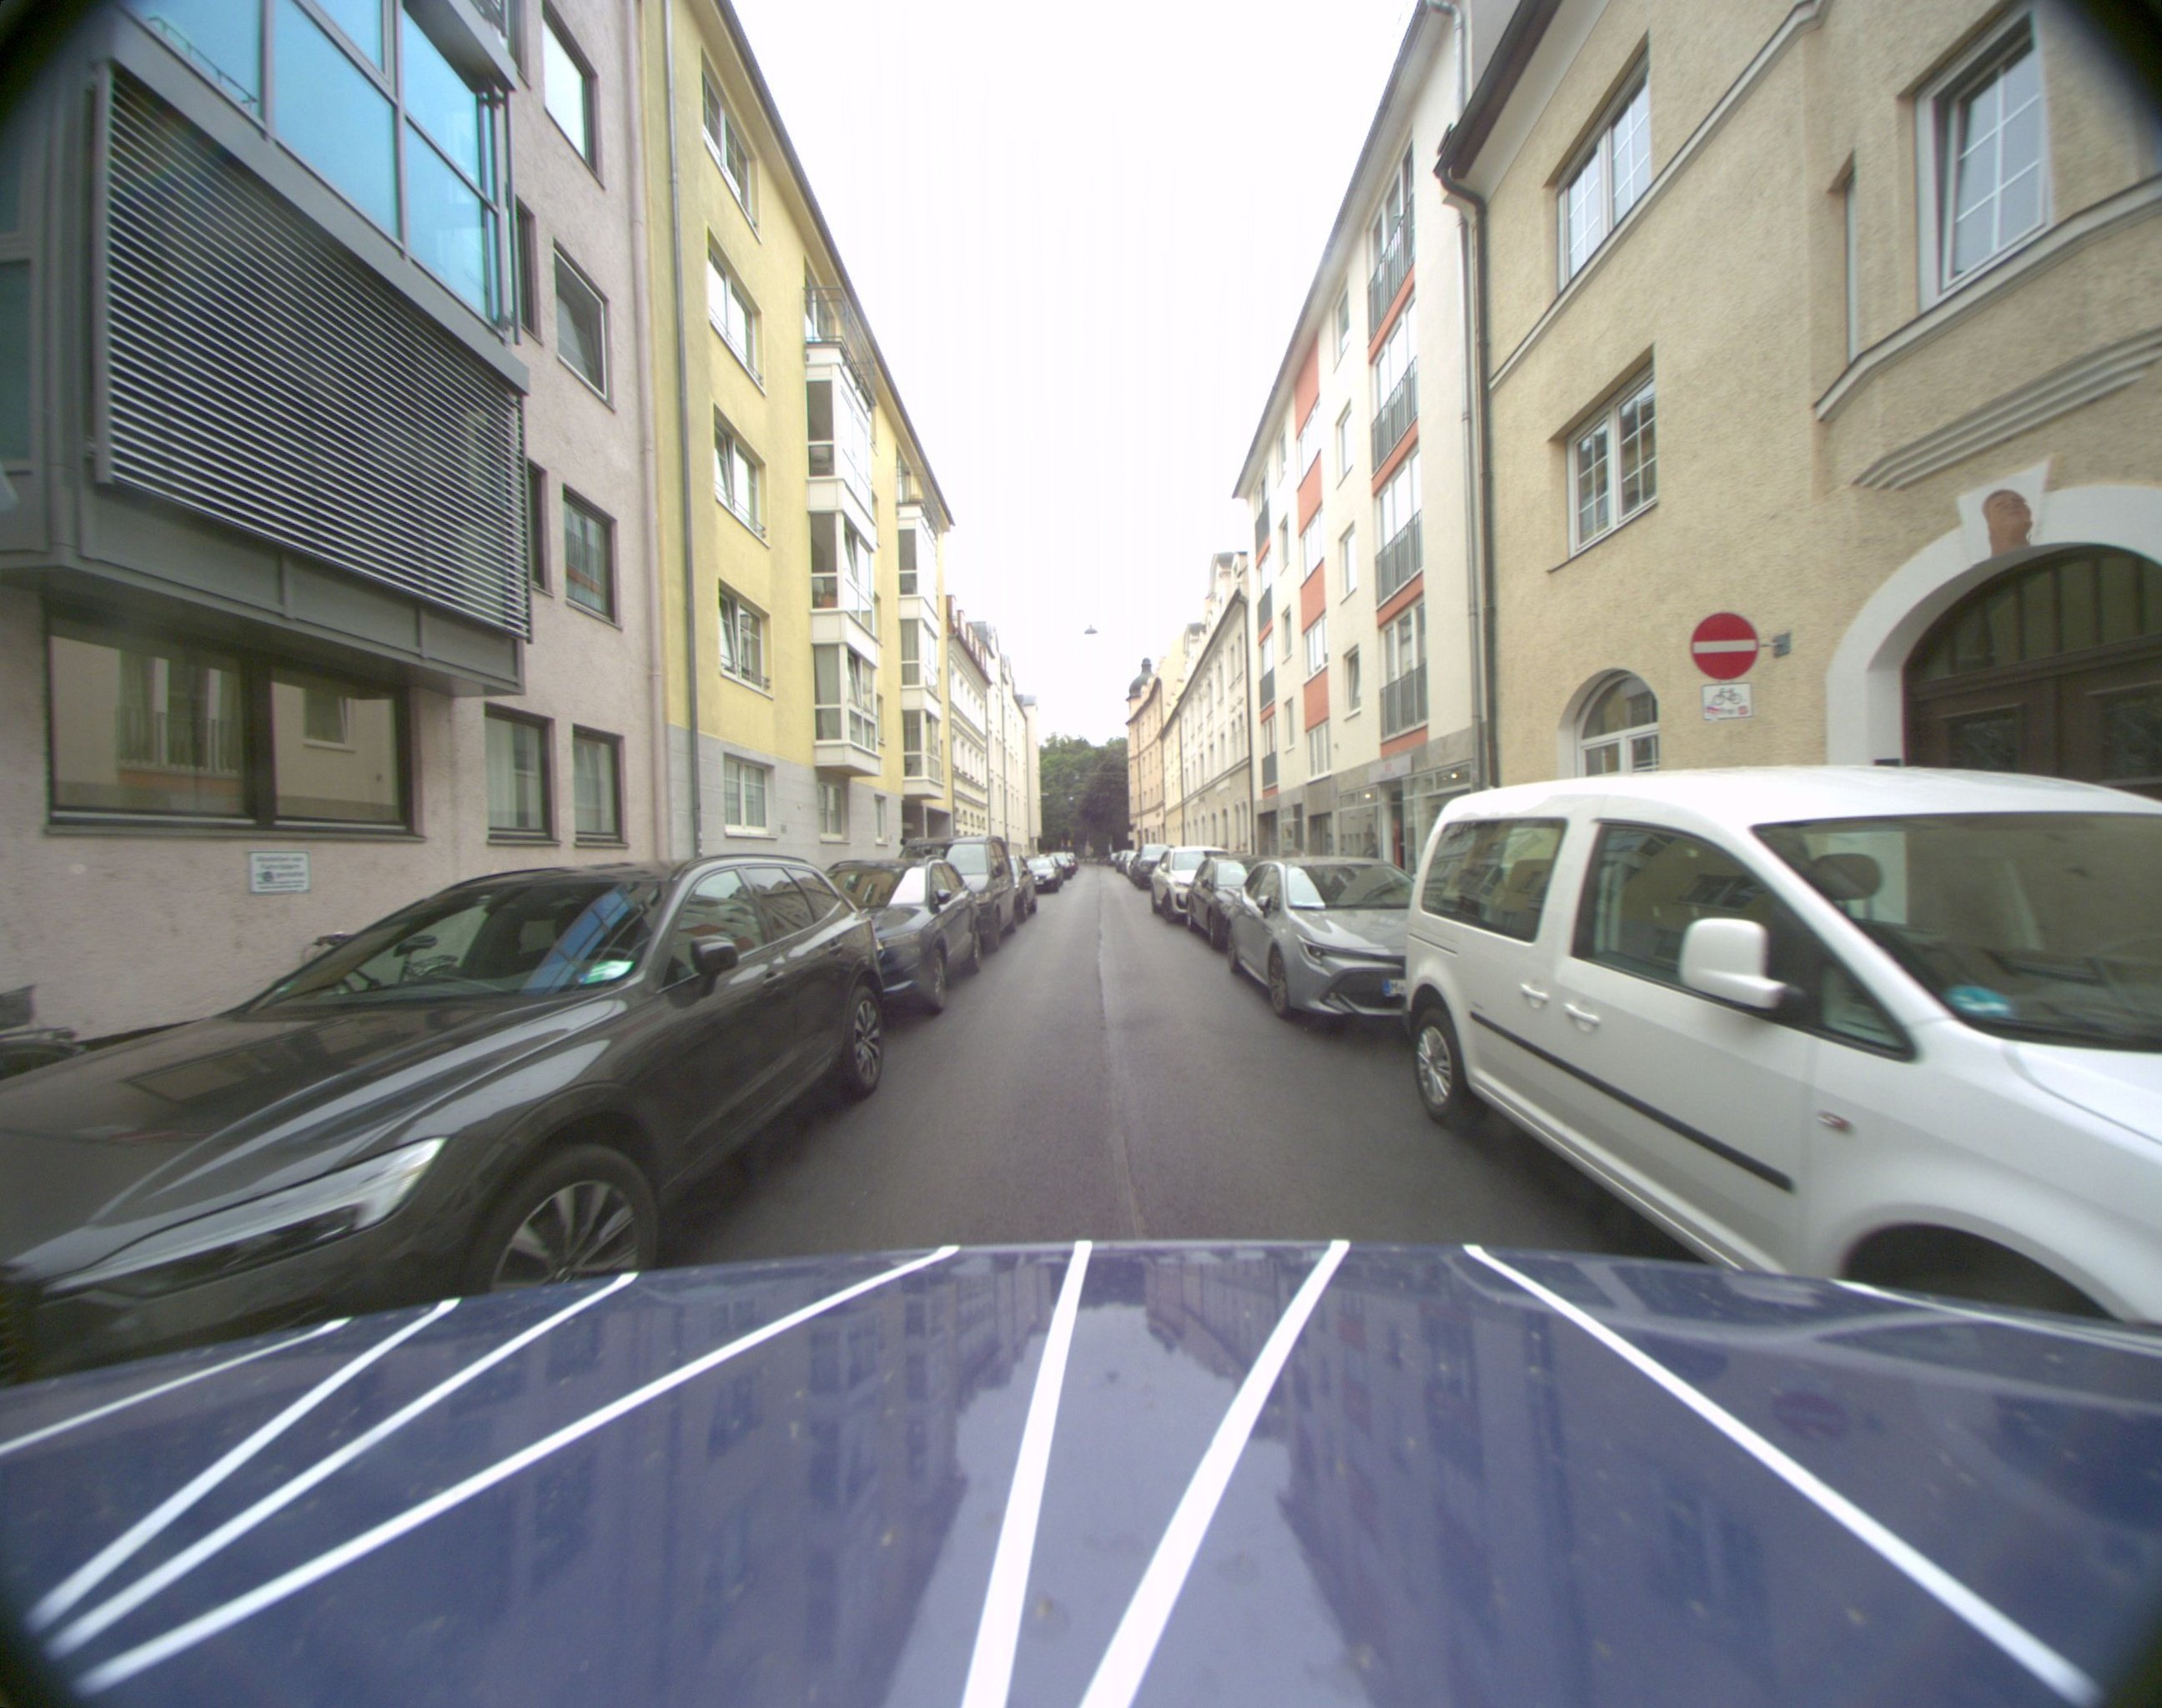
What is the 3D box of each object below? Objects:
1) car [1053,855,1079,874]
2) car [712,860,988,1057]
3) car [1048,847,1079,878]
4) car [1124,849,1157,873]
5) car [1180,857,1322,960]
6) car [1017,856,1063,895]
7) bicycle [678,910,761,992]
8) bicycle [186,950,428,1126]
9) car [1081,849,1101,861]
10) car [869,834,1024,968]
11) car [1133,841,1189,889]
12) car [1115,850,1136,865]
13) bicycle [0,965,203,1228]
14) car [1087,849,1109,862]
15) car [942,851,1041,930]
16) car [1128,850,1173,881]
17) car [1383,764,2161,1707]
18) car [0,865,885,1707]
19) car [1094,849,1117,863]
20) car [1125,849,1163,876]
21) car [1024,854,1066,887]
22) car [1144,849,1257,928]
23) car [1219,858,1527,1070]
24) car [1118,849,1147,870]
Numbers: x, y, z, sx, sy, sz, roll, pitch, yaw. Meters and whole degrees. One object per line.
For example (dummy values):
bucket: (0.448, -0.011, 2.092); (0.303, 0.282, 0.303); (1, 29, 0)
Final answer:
car: (-1.074, 0.772, 56.789); (1.739, 1.297, 3.686); (-3, 1, 1)
car: (-2.348, 0.968, 9.026); (1.837, 1.612, 4.323); (-3, 1, 1)
car: (-1.058, 0.495, 47.258); (1.739, 1.743, 3.685); (-3, 1, 1)
car: (3.818, 0.410, 49.352); (1.951, 1.470, 3.716); (0, 1, 1)
car: (2.758, 0.811, 13.100); (1.632, 1.467, 3.841); (0, 0, 1)
car: (-1.758, 0.849, 32.488); (1.749, 1.433, 4.227); (-3, 1, -3)
bicycle: (-5.102, 1.347, 10.815); (0.422, 0.970, 1.446); (-2, 0, 2)
bicycle: (-5.417, 1.238, 5.417); (0.358, 0.942, 1.269); (-2, 0, 2)
car: (1.188, 0.092, 94.190); (1.800, 1.501, 3.996); (0, 1, -10)
car: (-2.297, 0.683, 14.432); (1.877, 2.002, 5.105); (-3, 1, 1)
car: (3.323, 0.399, 32.257); (1.951, 1.850, 4.908); (0, 1, 1)
car: (4.390, 0.302, 76.258); (1.951, 1.470, 3.979); (0, 1, 1)
bicycle: (-5.261, 1.201, 3.586); (0.358, 1.115, 1.543); (-2, 0, 2)
car: (1.979, 0.119, 90.080); (1.800, 1.501, 3.996); (0, 1, -10)
car: (-2.145, 0.818, 19.343); (1.837, 1.676, 4.228); (-3, 1, 1)
car: (3.414, 0.542, 37.892); (1.951, 1.470, 3.716); (0, 1, 1)
car: (2.605, 0.721, 2.451); (1.728, 1.779, 4.248); (0, 2, 3)
car: (-2.428, 0.964, 3.351); (1.837, 1.612, 4.410); (-3, 1, 1)
car: (2.701, 0.186, 85.877); (1.800, 1.501, 3.996); (0, 1, -10)
car: (3.611, 0.477, 44.237); (1.951, 1.470, 3.716); (0, 1, 1)
car: (-1.689, 0.756, 36.736); (1.739, 1.433, 3.686); (-3, 1, 1)
car: (2.615, 0.695, 17.620); (1.785, 1.596, 4.307); (0, 0, -2)
car: (2.564, 0.843, 7.792); (1.676, 1.467, 4.111); (0, 2, 2)
car: (3.692, 0.363, 55.059); (1.951, 1.470, 3.979); (0, 1, 1)
